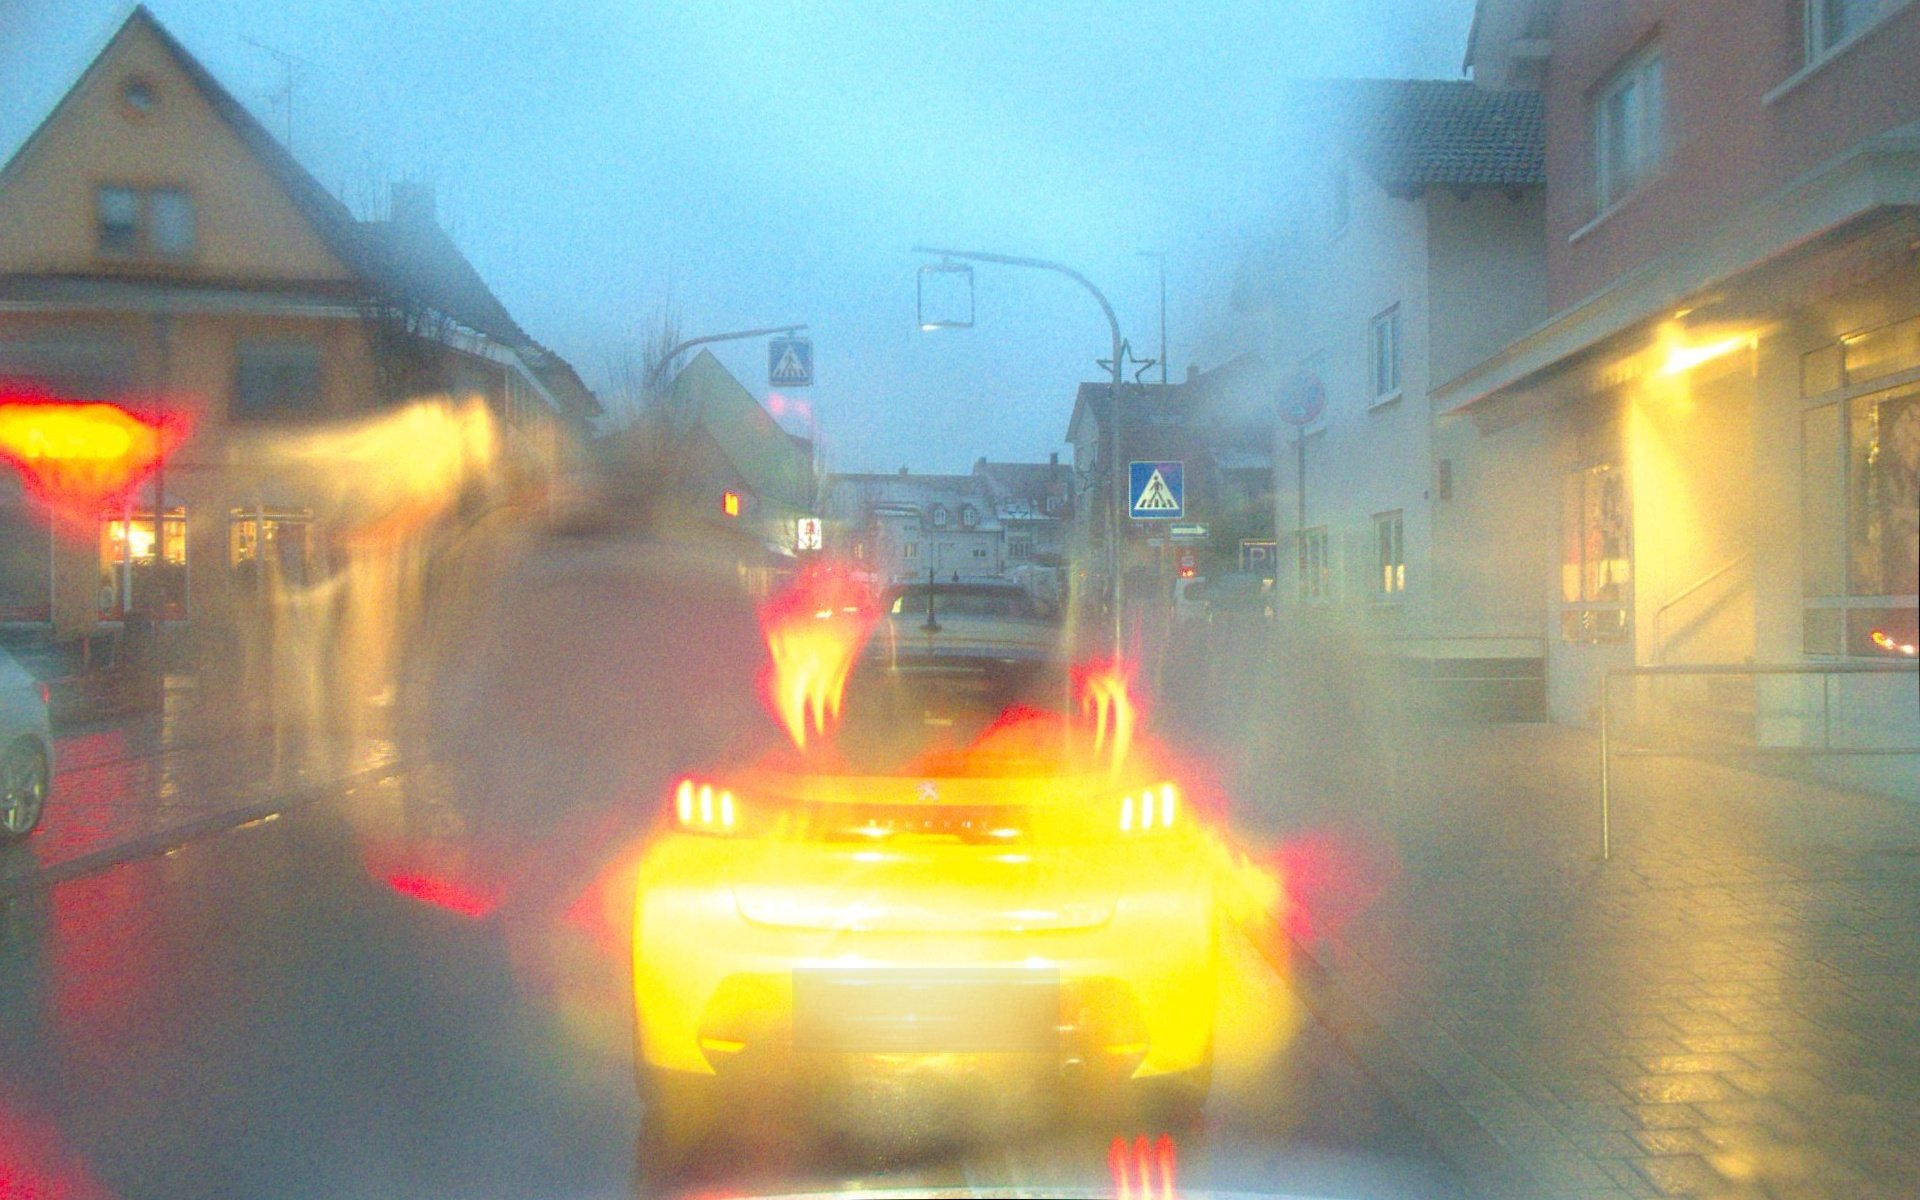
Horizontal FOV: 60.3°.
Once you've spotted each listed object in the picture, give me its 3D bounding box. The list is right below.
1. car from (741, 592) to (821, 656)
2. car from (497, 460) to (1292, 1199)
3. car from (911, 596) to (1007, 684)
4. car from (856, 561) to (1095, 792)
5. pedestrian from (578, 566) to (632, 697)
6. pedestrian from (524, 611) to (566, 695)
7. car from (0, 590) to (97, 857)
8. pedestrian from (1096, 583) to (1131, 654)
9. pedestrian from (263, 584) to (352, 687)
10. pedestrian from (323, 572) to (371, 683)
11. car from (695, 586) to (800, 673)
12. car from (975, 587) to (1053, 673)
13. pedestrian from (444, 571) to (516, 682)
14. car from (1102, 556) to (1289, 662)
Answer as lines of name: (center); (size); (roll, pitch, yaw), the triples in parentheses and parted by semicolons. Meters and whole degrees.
car: (-5.151, 0.656, 48.152); (1.953, 1.783, 4.360); (0, 0, -2)
car: (-0.082, 0.546, 6.401); (1.952, 1.827, 4.650); (0, 1, 2)
car: (0.039, 0.738, 32.908); (1.789, 1.629, 4.582); (0, 0, 1)
car: (0.136, 0.579, 14.268); (1.761, 1.691, 4.000); (1, 0, 1)
pedestrian: (-5.276, 0.458, 24.604); (0.689, 1.909, 0.616); (1, 1, -6)
pedestrian: (-6.225, 0.789, 24.805); (0.542, 1.254, 0.433); (0, 0, -5)
car: (-6.359, 0.701, 8.609); (1.636, 1.543, 3.999); (2, 0, -1)
pedestrian: (4.491, 0.534, 48.545); (0.995, 2.049, 1.276); (0, 0, 4)
pedestrian: (-9.825, 0.529, 24.929); (0.872, 1.442, 0.776); (6, -1, 4)
pedestrian: (-9.931, 0.446, 26.829); (0.576, 1.773, 0.683); (0, 0, -7)
car: (-5.202, 0.699, 41.078); (1.952, 2.049, 4.362); (0, 0, 1)
car: (1.350, 0.725, 42.458); (1.609, 2.049, 3.998); (-2, 0, -3)
pedestrian: (-7.892, 0.418, 27.237); (0.955, 1.773, 0.960); (1, 1, -7)
car: (4.744, 0.190, 33.712); (3.620, 2.049, 1.690); (1, -1, 2)
